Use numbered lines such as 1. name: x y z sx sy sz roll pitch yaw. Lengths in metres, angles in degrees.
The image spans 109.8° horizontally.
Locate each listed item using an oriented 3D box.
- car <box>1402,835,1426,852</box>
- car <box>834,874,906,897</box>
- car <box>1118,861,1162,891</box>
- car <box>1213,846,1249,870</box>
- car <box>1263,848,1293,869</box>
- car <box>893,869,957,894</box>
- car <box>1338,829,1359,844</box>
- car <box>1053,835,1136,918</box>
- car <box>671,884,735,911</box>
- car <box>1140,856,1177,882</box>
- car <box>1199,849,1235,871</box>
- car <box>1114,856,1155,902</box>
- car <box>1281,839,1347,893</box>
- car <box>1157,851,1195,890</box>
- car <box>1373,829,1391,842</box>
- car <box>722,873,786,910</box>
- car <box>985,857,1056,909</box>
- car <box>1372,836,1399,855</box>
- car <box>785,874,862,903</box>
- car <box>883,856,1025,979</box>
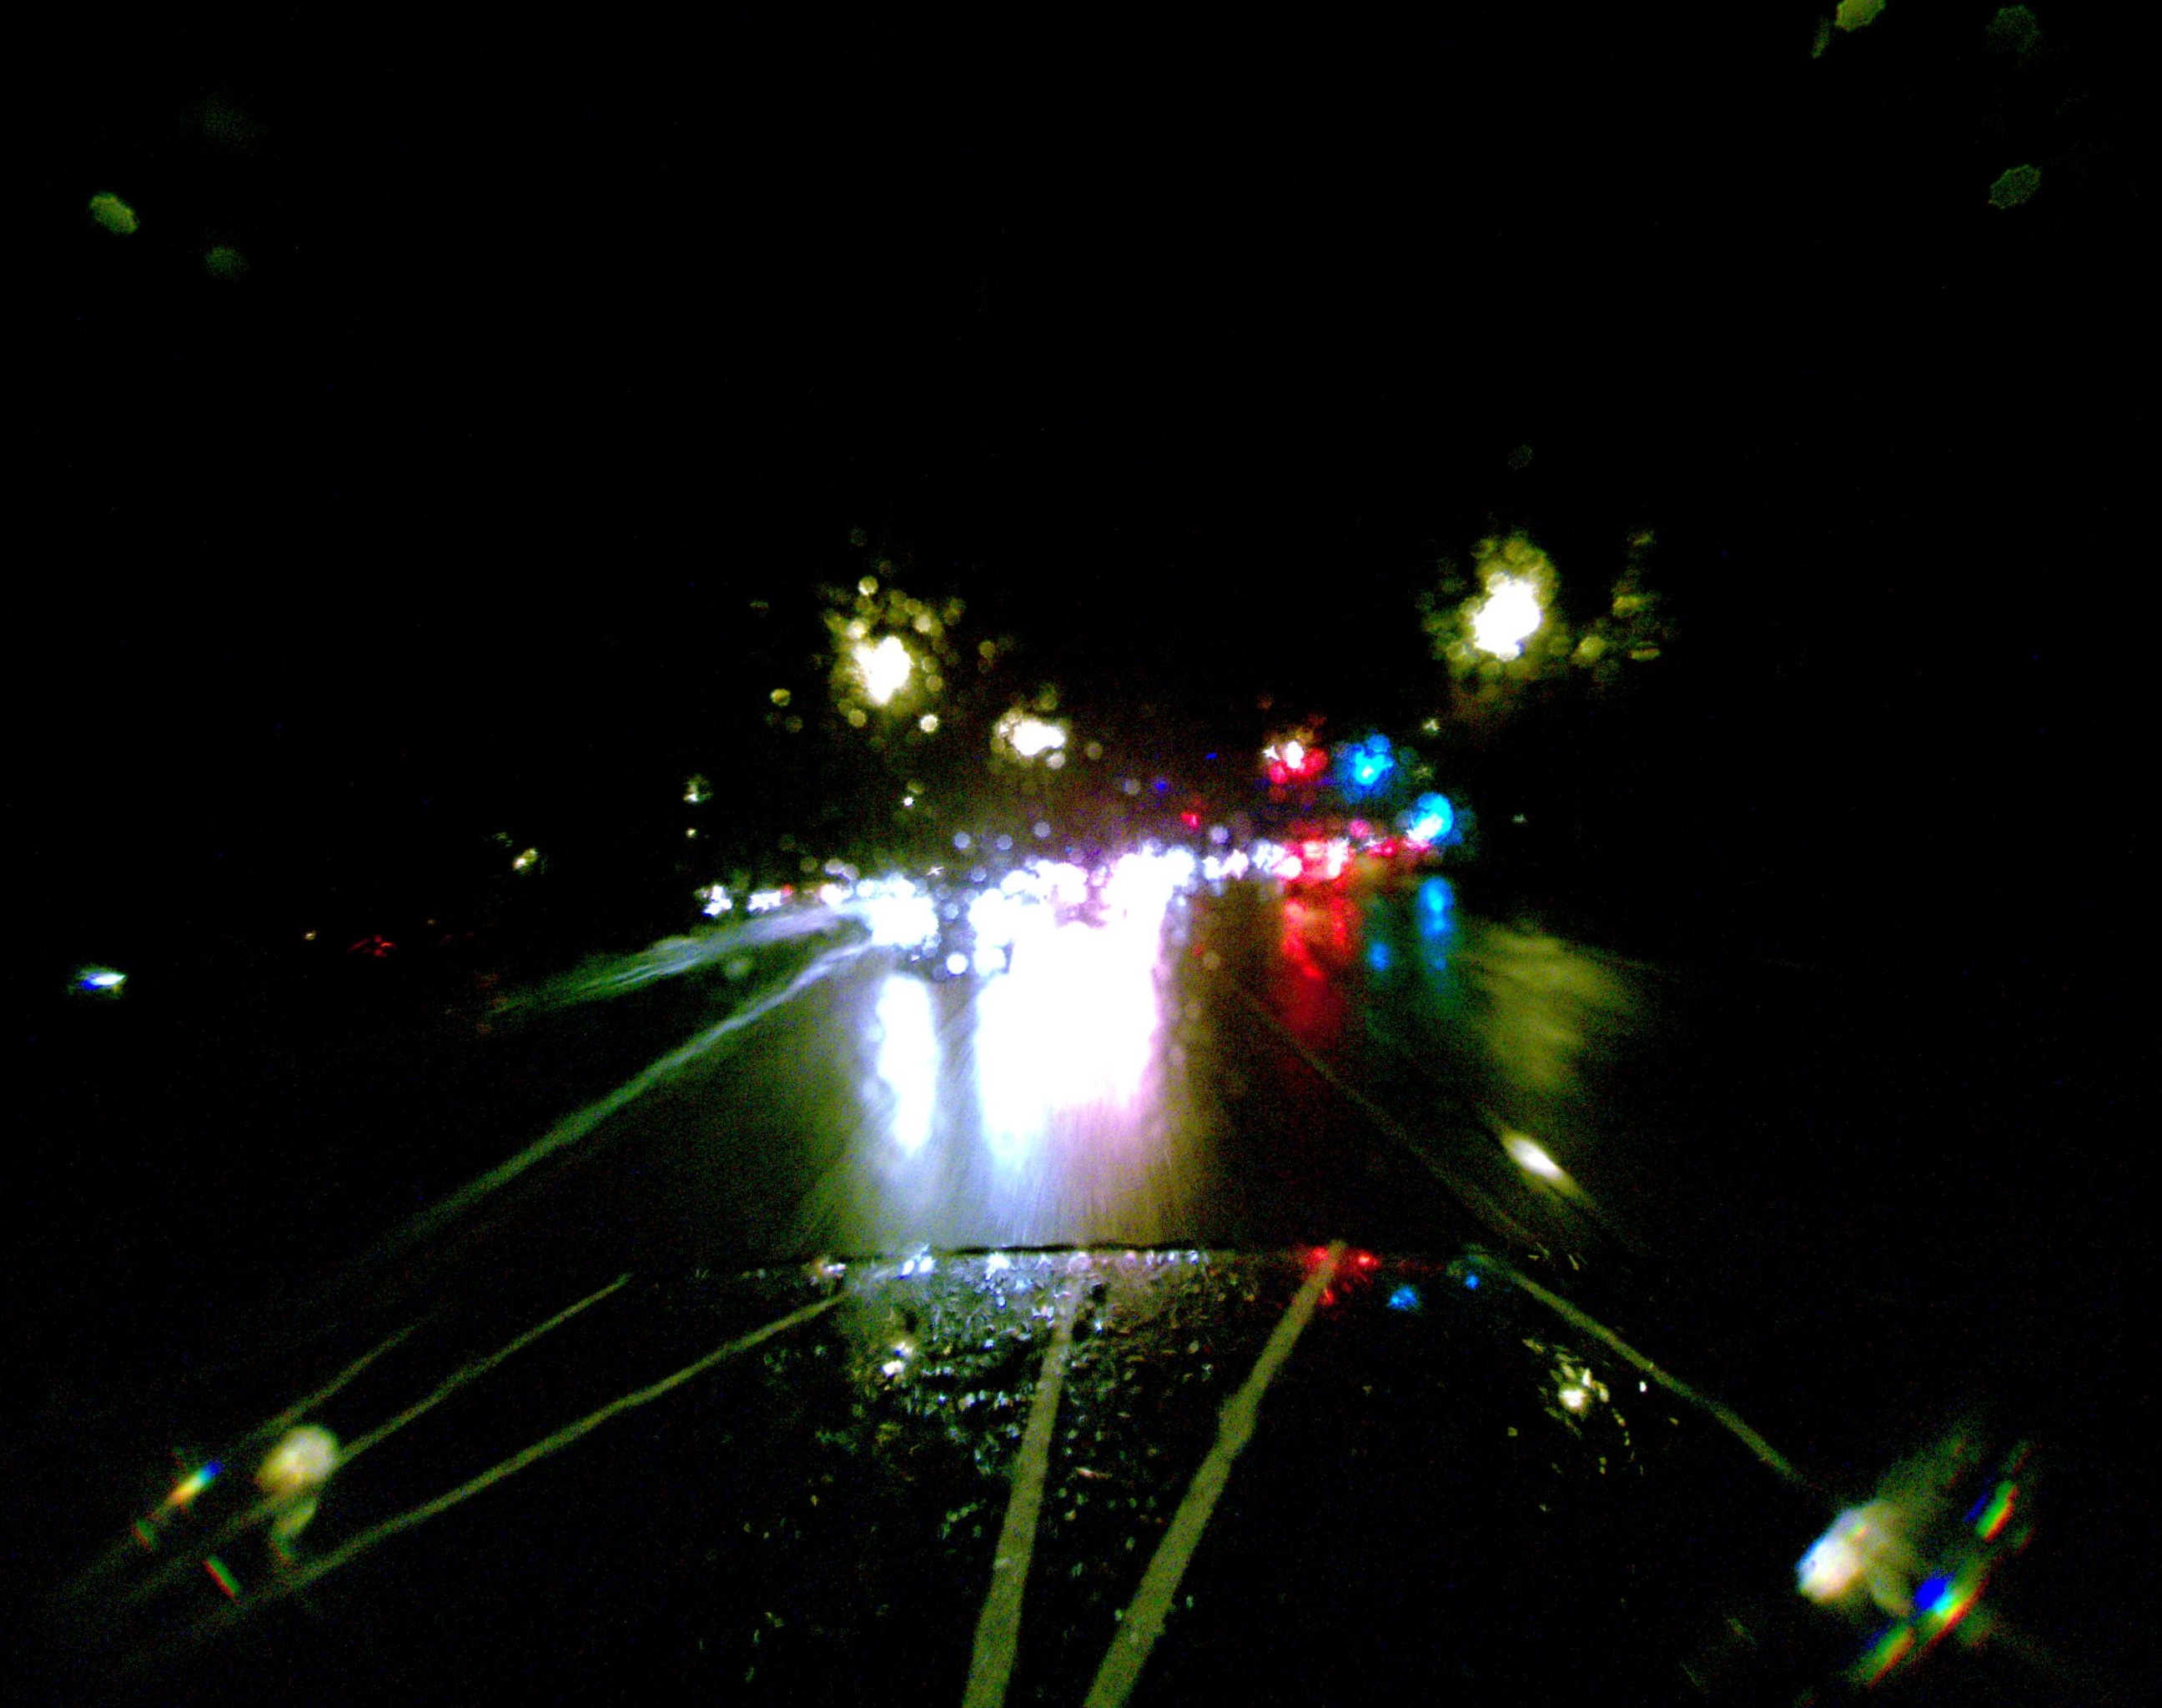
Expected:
1. car: 34.422 -1.057 78.494 1.987 1.595 4.842 -2 0 27
2. car: -14.213 2.125 51.171 4.534 1.400 2.004 -2 0 30
3. car: 4.478 1.624 57.175 1.866 2.001 4.007 -4 -1 25
4. car: 13.250 0.329 67.079 1.995 2.001 4.007 -4 -1 27
5. car: 20.582 0.430 79.309 1.866 2.001 4.007 -4 -1 30
6. car: -11.169 1.971 54.433 4.108 1.630 2.003 -2 0 27
7. car: 39.192 -2.547 111.260 1.865 2.001 4.007 -4 -1 33
8. car: 0.446 0.503 20.740 1.998 2.002 4.000 -2 2 3
9. car: -27.524 3.175 55.252 4.336 1.630 2.003 -4 0 30
10. car: 6.552 1.222 63.800 1.833 2.001 4.006 -4 -1 25
11. car: 13.765 0.544 76.590 1.995 2.001 4.008 -4 -1 34
12. car: 2.569 1.157 36.050 1.305 1.520 3.046 -25 0 7
13. car: 8.195 0.367 27.061 2.002 1.665 4.622 -3 0 15
14. car: 6.569 1.085 52.221 1.997 2.003 4.000 -8 3 12
15. car: 47.956 -2.928 121.093 1.865 2.001 4.007 -4 -1 33
16. car: -22.442 2.582 52.071 3.991 2.003 1.765 -7 3 31
17. car: -2.102 0.997 27.613 2.046 1.610 4.288 -3 -1 2
18. car: 26.908 -0.734 67.061 1.987 1.595 4.841 -2 0 24
19. car: -16.591 2.228 48.908 4.770 1.630 2.004 -2 0 30
20. car: -1.969 0.919 13.030 1.928 1.704 4.237 -2 0 -4
